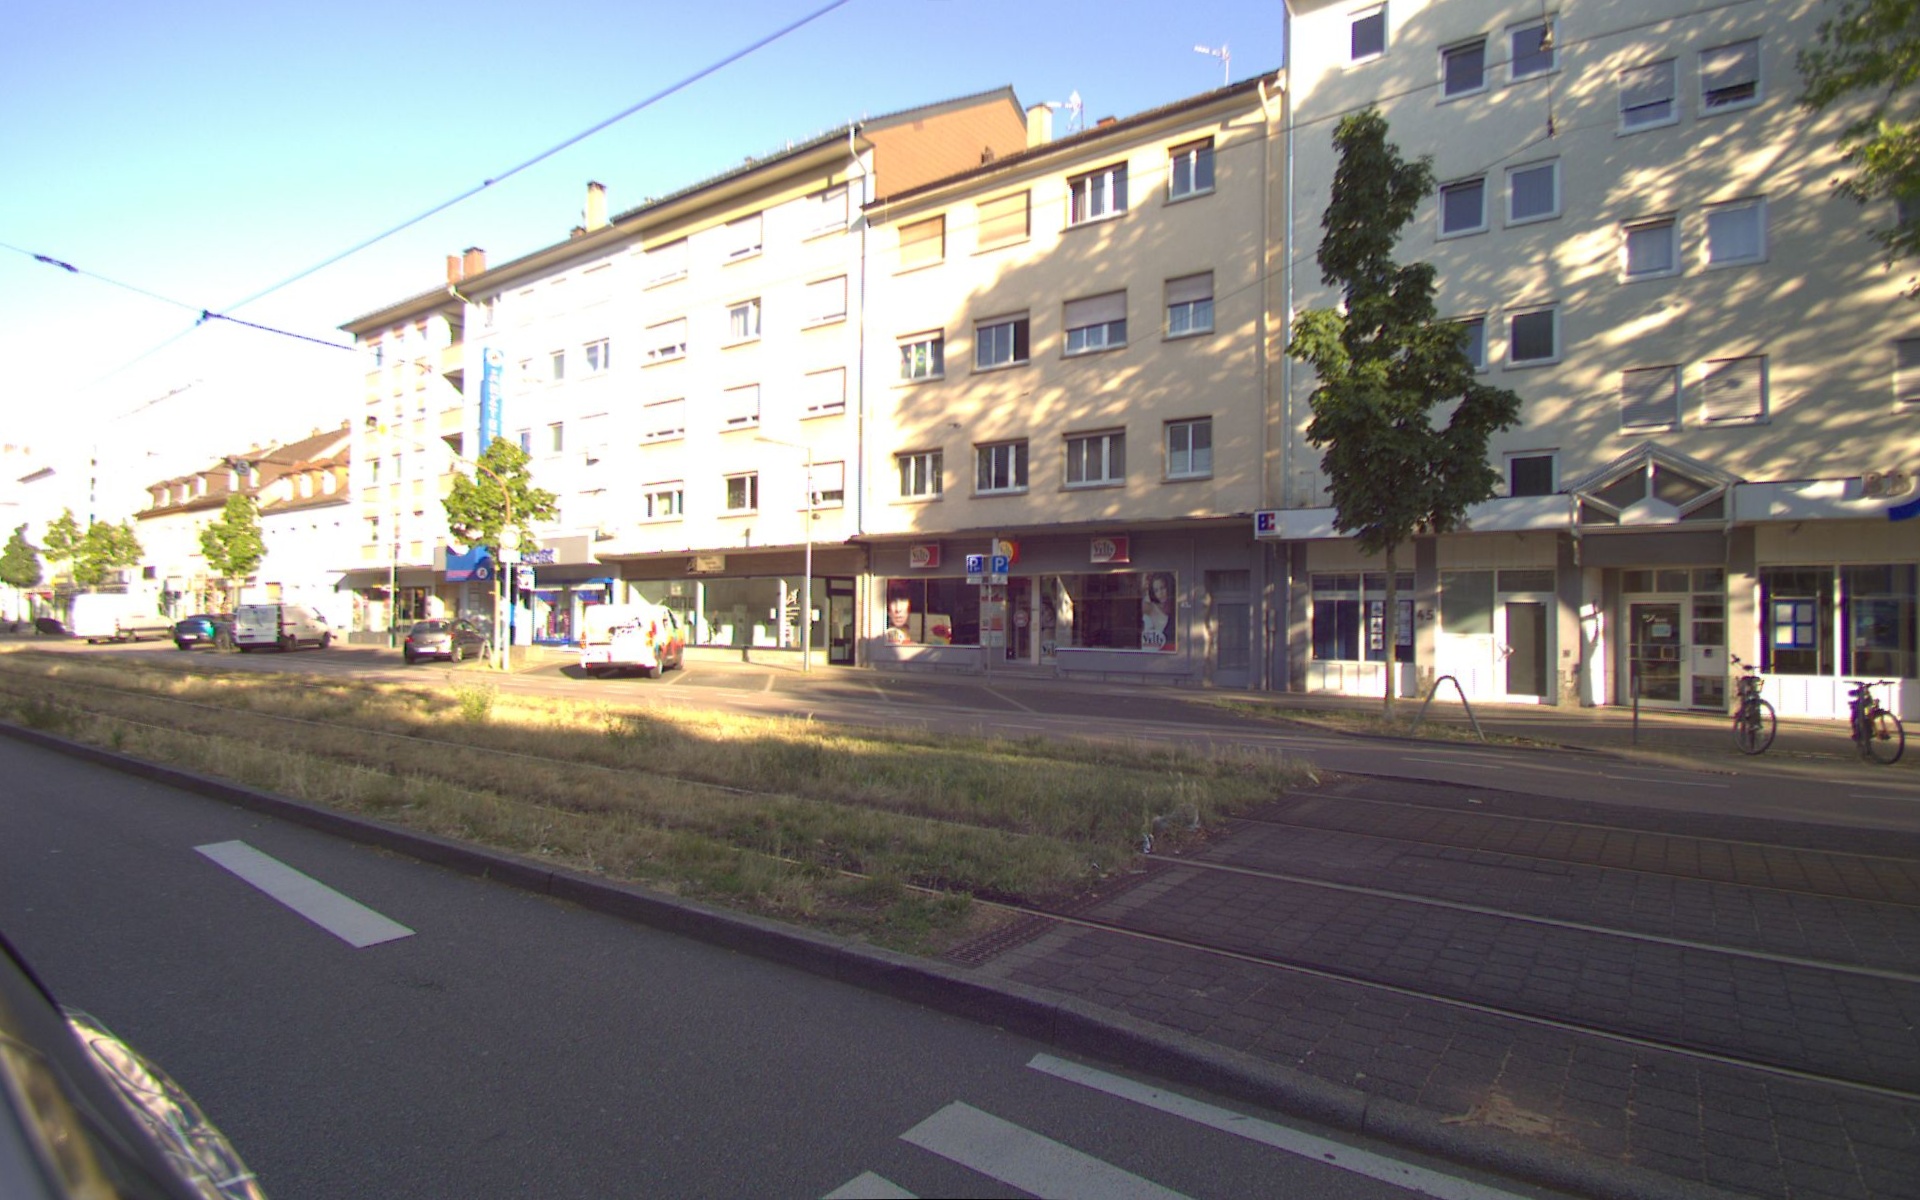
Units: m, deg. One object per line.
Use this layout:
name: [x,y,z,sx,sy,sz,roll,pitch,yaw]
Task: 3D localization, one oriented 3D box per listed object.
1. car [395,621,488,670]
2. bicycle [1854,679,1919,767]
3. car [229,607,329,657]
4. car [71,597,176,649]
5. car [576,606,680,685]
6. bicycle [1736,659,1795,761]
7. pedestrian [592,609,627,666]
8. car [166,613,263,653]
car: [-17.519,1.503,34.380,1.708,1.508,4.009,0,0,-10]
bicycle: [11.341,1.470,12.356,0.471,0.895,1.724,-1,-1,36]
car: [-28.619,1.288,42.711,1.828,1.952,4.514,0,0,-10]
car: [-45.388,1.200,55.124,1.895,2.634,6.608,0,0,-16]
car: [-8.795,1.134,27.119,1.830,1.913,4.005,0,0,-6]
bicycle: [10.307,1.369,12.977,0.511,1.147,1.724,-1,-1,36]
pedestrian: [-11.619,1.225,33.546,0.916,1.841,0.748,-1,-1,39]
car: [-34.271,1.492,46.653,1.830,1.727,3.919,0,0,-4]
